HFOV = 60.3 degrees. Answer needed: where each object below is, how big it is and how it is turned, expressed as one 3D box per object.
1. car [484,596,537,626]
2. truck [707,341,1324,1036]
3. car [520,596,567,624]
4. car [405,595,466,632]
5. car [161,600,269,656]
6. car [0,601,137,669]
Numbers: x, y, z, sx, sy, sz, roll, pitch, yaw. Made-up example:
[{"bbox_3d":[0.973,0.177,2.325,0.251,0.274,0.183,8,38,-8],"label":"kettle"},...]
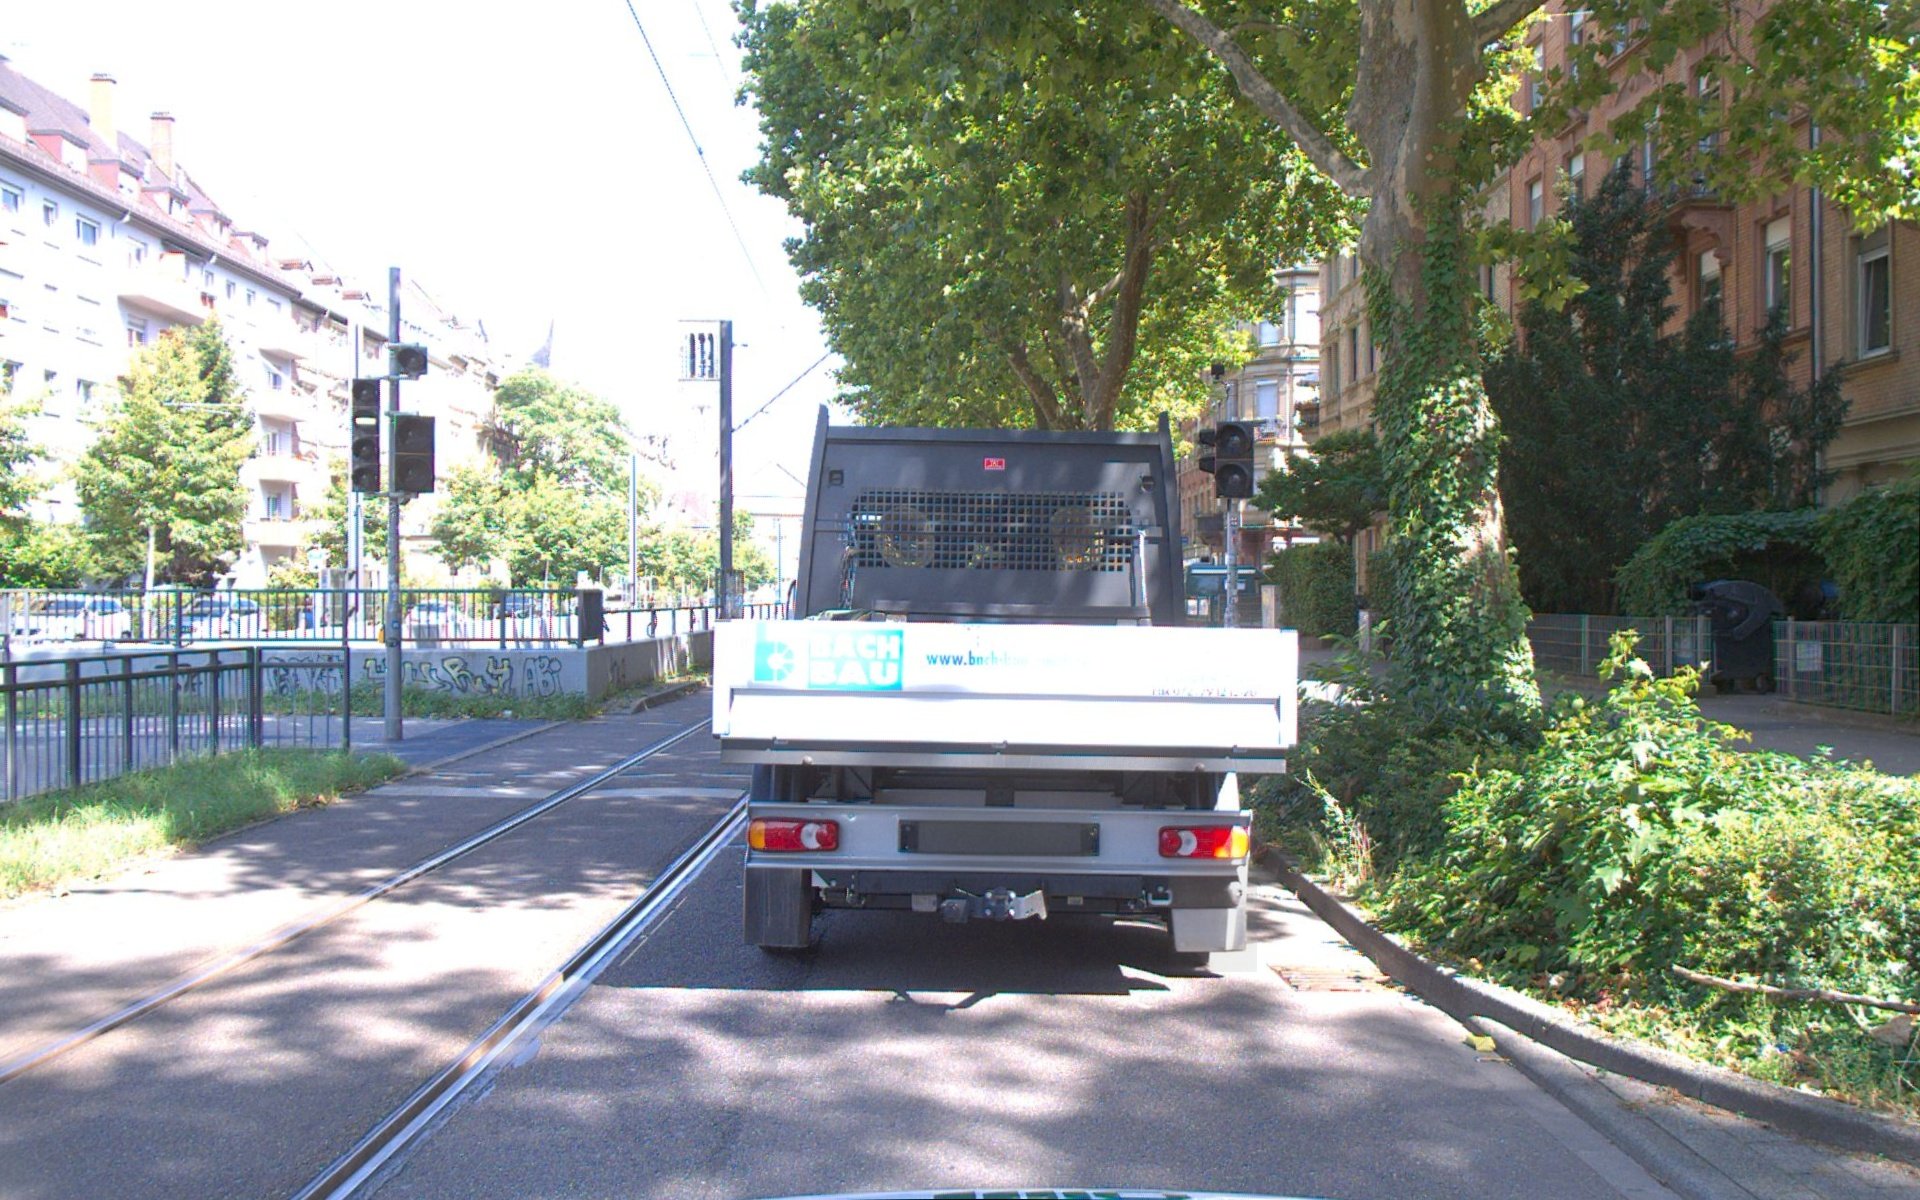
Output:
[{"bbox_3d":[-22.885,0.540,84.246,1.735,1.524,3.998,0,0,-2],"label":"car"},{"bbox_3d":[0.196,0.295,7.853,2.094,2.359,4.401,0,0,0],"label":"truck"},{"bbox_3d":[-23.167,0.523,92.078,1.735,1.524,3.998,0,0,-2],"label":"car"},{"bbox_3d":[-22.402,0.569,70.784,1.736,1.524,3.994,0,0,-6],"label":"car"},{"bbox_3d":[-22.119,0.802,49.253,1.737,1.524,3.994,-2,0,-6],"label":"car"},{"bbox_3d":[-21.936,0.819,40.675,1.737,1.524,3.994,-2,0,-6],"label":"car"}]
